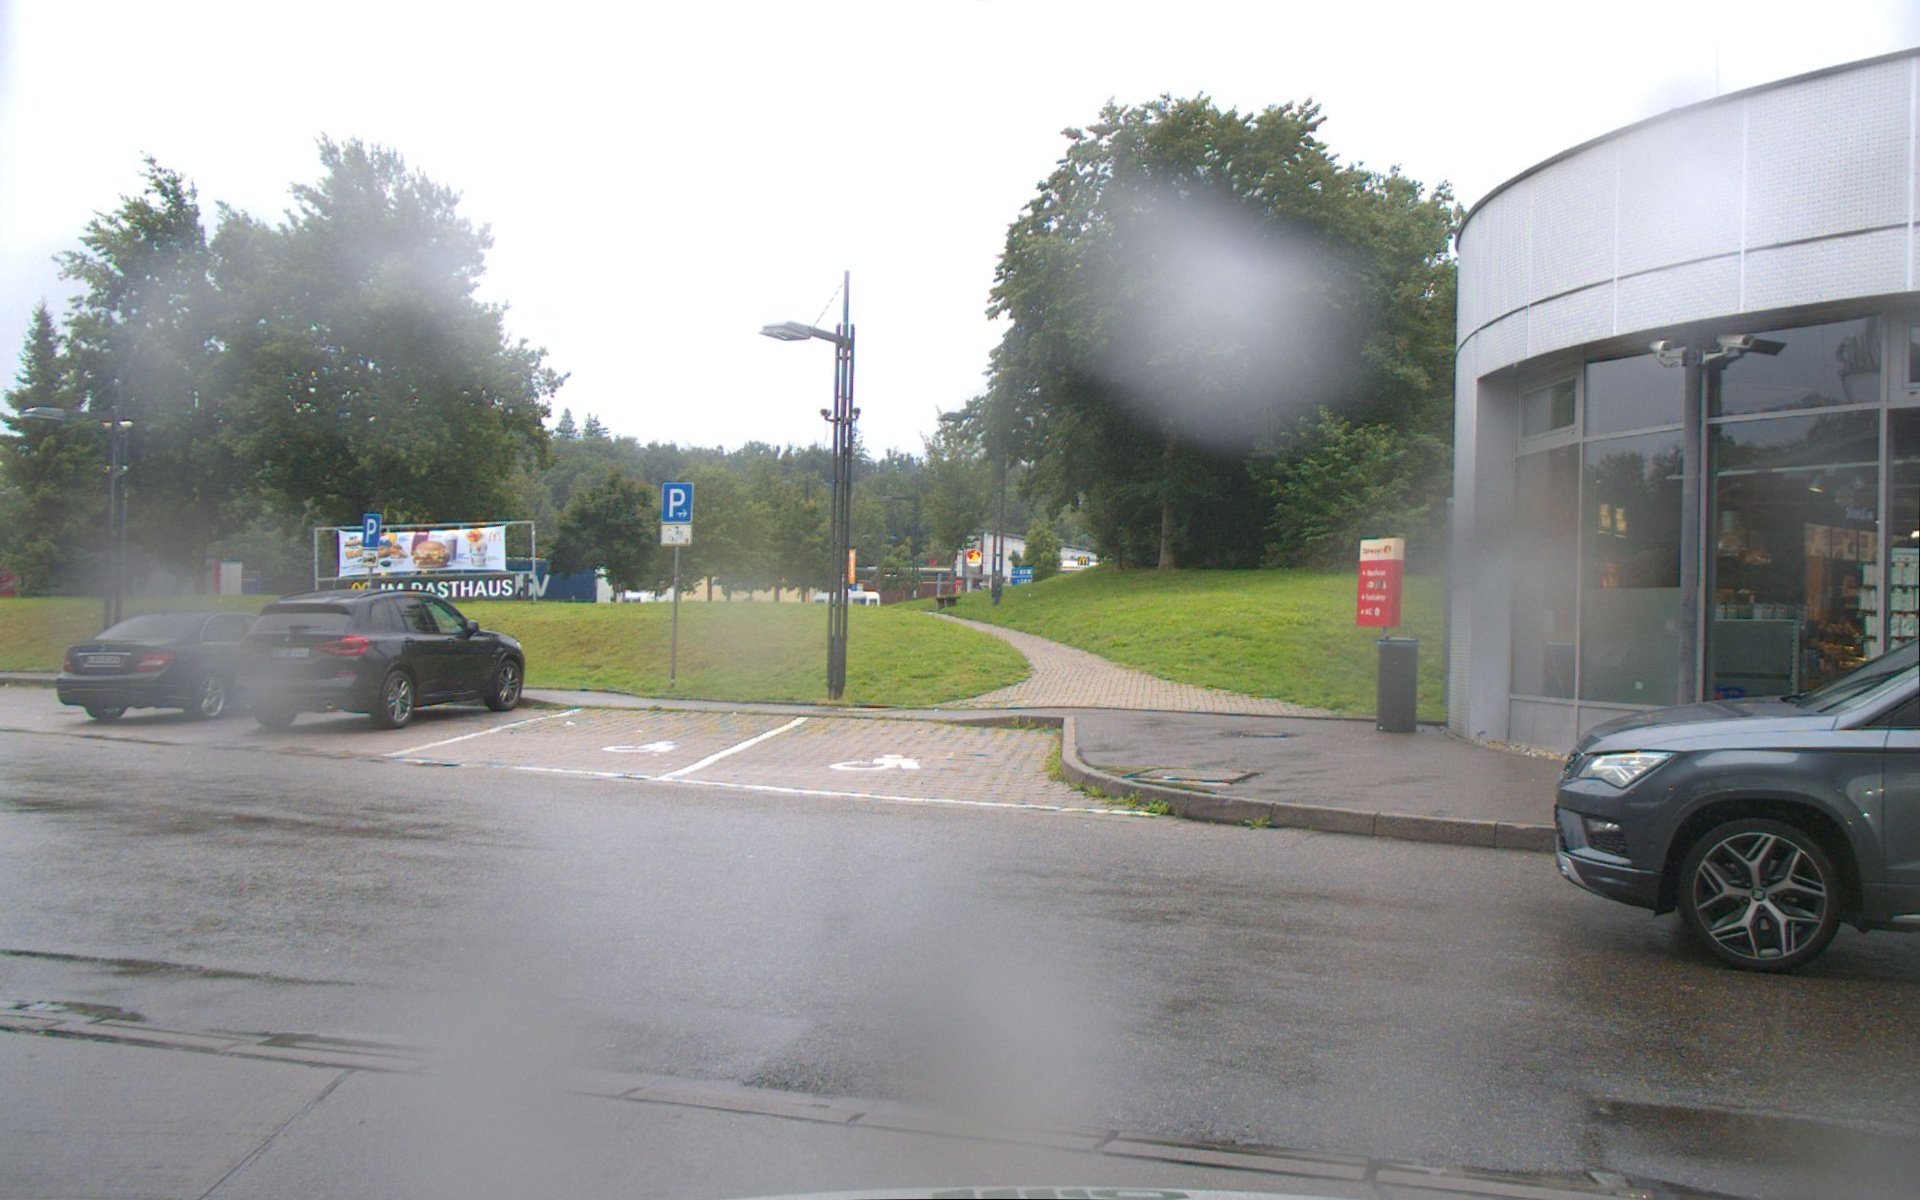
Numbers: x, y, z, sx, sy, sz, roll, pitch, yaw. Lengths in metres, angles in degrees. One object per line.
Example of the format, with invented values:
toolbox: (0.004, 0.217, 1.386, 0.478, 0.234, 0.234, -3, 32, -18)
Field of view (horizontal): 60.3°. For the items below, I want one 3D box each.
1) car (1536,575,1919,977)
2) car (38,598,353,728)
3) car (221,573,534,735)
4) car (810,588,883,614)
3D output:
car: (4.824, 0.725, 7.347, 4.223, 1.615, 1.890, 1, 0, 21)
car: (-10.353, 0.784, 22.774, 1.844, 1.592, 4.189, 0, 0, 11)
car: (-7.327, 0.612, 21.335, 1.844, 1.860, 4.417, 0, 0, 11)
car: (-9.161, 0.066, 133.644, 5.310, 2.049, 2.456, 1, 0, 19)
